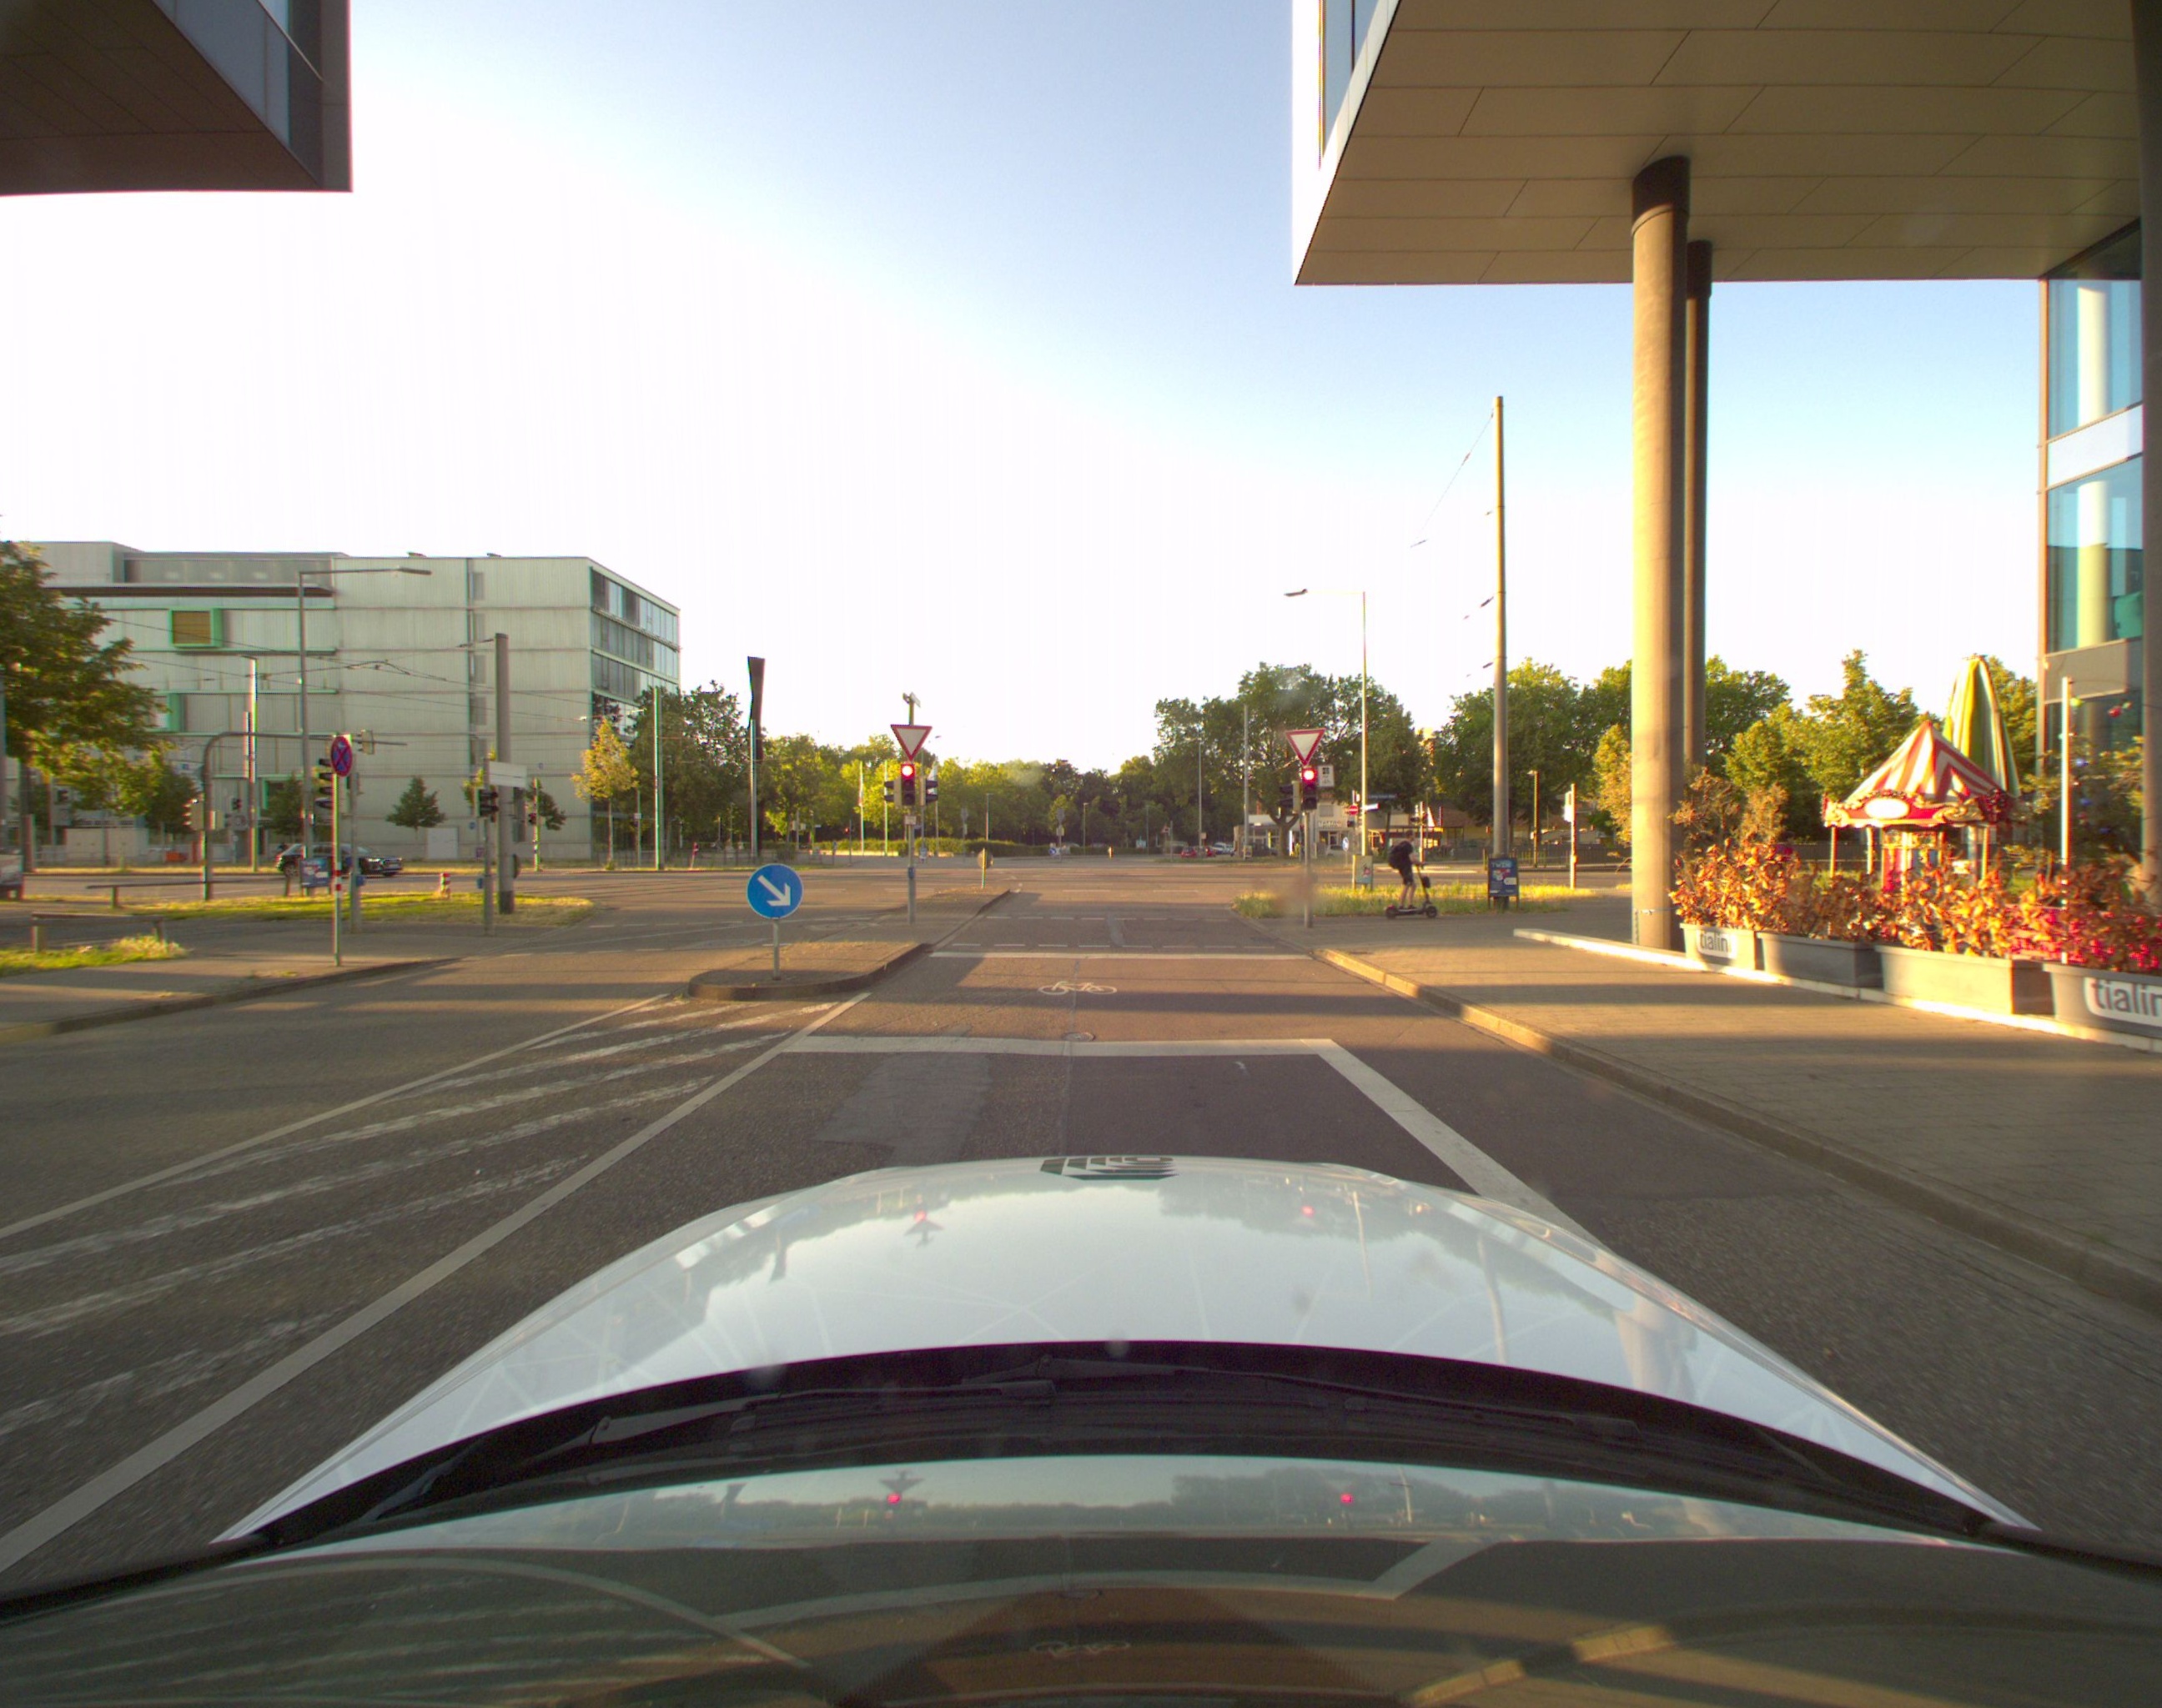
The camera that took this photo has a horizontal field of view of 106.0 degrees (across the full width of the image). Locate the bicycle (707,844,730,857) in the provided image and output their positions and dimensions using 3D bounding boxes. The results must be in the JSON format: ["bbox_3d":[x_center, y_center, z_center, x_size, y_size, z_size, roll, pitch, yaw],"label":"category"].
[{"bbox_3d":[-39.231,-0.376,88.167,2.656,1.341,0.737,0,1,28],"label":"bicycle"}]

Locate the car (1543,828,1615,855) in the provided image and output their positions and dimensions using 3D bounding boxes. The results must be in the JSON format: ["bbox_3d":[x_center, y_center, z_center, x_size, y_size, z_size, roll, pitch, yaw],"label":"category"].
[{"bbox_3d":[48.132,-1.171,78.818,5.561,2.551,2.235,0,0,9],"label":"car"}]

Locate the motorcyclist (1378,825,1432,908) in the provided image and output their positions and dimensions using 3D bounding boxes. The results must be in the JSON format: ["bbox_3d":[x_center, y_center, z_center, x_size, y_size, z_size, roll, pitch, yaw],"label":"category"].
[{"bbox_3d":[6.936,0.264,17.455,0.896,1.746,0.676,0,0,1],"label":"motorcyclist"}]

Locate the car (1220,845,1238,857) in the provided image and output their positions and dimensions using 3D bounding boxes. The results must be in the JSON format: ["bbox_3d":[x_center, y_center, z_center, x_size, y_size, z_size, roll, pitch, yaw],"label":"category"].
[{"bbox_3d":[21.326,-0.378,117.105,1.978,1.662,4.018,-1,-1,17],"label":"car"}]

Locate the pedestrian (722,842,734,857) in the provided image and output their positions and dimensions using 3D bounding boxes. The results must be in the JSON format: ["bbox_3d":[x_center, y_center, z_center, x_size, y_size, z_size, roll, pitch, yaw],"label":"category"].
[{"bbox_3d":[-40.377,-0.523,93.145,0.852,1.744,0.835,0,0,23],"label":"pedestrian"}]

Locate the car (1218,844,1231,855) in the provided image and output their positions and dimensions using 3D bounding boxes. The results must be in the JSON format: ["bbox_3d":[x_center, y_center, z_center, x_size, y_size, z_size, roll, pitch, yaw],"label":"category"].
[{"bbox_3d":[24.200,-0.714,137.539,1.849,1.794,4.016,-1,-1,15],"label":"car"}]

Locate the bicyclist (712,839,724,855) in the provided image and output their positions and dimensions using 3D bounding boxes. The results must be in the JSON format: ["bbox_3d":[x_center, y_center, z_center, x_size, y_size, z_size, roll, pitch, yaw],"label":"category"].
[{"bbox_3d":[-39.335,-0.731,88.174,0.908,1.709,0.758,0,0,29],"label":"bicyclist"}]

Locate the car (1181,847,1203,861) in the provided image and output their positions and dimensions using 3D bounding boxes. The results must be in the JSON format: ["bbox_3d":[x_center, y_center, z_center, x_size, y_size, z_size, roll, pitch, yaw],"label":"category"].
[{"bbox_3d":[13.315,0.049,97.376,1.978,1.662,4.018,-1,-1,17],"label":"car"}]

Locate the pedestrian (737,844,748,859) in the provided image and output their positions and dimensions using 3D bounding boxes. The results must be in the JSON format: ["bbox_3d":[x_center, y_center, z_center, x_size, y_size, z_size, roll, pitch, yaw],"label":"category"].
[{"bbox_3d":[-39.303,-0.290,94.674,0.852,1.744,0.835,0,0,33],"label":"pedestrian"}]

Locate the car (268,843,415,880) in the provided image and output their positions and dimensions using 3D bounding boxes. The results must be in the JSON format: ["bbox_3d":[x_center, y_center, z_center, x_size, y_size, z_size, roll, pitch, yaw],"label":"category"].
[{"bbox_3d":[-32.379,0.295,35.773,4.466,1.556,1.986,0,0,-4],"label":"car"}]

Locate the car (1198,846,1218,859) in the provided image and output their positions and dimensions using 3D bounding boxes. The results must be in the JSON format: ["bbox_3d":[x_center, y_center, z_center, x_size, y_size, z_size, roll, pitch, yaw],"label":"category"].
[{"bbox_3d":[16.429,-0.133,104.992,1.978,1.662,4.018,-1,-1,17],"label":"car"}]

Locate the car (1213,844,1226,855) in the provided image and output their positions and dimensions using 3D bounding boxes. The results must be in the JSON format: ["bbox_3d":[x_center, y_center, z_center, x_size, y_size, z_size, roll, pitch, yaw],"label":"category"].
[{"bbox_3d":[22.529,-0.693,132.683,1.850,1.794,4.014,-1,-1,12],"label":"car"}]

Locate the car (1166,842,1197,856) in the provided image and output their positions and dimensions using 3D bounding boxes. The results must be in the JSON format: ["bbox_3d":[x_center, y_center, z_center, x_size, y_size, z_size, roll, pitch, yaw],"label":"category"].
[{"bbox_3d":[15.670,-0.789,127.541,4.753,2.006,2.002,0,-1,3],"label":"car"}]

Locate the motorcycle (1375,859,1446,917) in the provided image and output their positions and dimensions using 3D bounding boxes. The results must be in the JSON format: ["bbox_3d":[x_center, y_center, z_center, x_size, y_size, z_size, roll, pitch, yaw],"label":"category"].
[{"bbox_3d":[7.026,0.715,17.408,1.305,1.188,0.567,0,0,3],"label":"motorcycle"}]

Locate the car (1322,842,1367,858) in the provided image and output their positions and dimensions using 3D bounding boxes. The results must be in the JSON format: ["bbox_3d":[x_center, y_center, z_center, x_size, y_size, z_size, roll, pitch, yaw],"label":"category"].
[{"bbox_3d":[23.816,-0.334,73.652,3.715,1.440,1.669,-1,-1,11],"label":"car"}]

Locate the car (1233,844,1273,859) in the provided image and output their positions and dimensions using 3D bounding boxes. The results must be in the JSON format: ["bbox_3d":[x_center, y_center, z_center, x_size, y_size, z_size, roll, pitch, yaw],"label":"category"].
[{"bbox_3d":[19.127,-0.253,90.708,4.194,1.552,2.005,0,-1,9],"label":"car"}]
